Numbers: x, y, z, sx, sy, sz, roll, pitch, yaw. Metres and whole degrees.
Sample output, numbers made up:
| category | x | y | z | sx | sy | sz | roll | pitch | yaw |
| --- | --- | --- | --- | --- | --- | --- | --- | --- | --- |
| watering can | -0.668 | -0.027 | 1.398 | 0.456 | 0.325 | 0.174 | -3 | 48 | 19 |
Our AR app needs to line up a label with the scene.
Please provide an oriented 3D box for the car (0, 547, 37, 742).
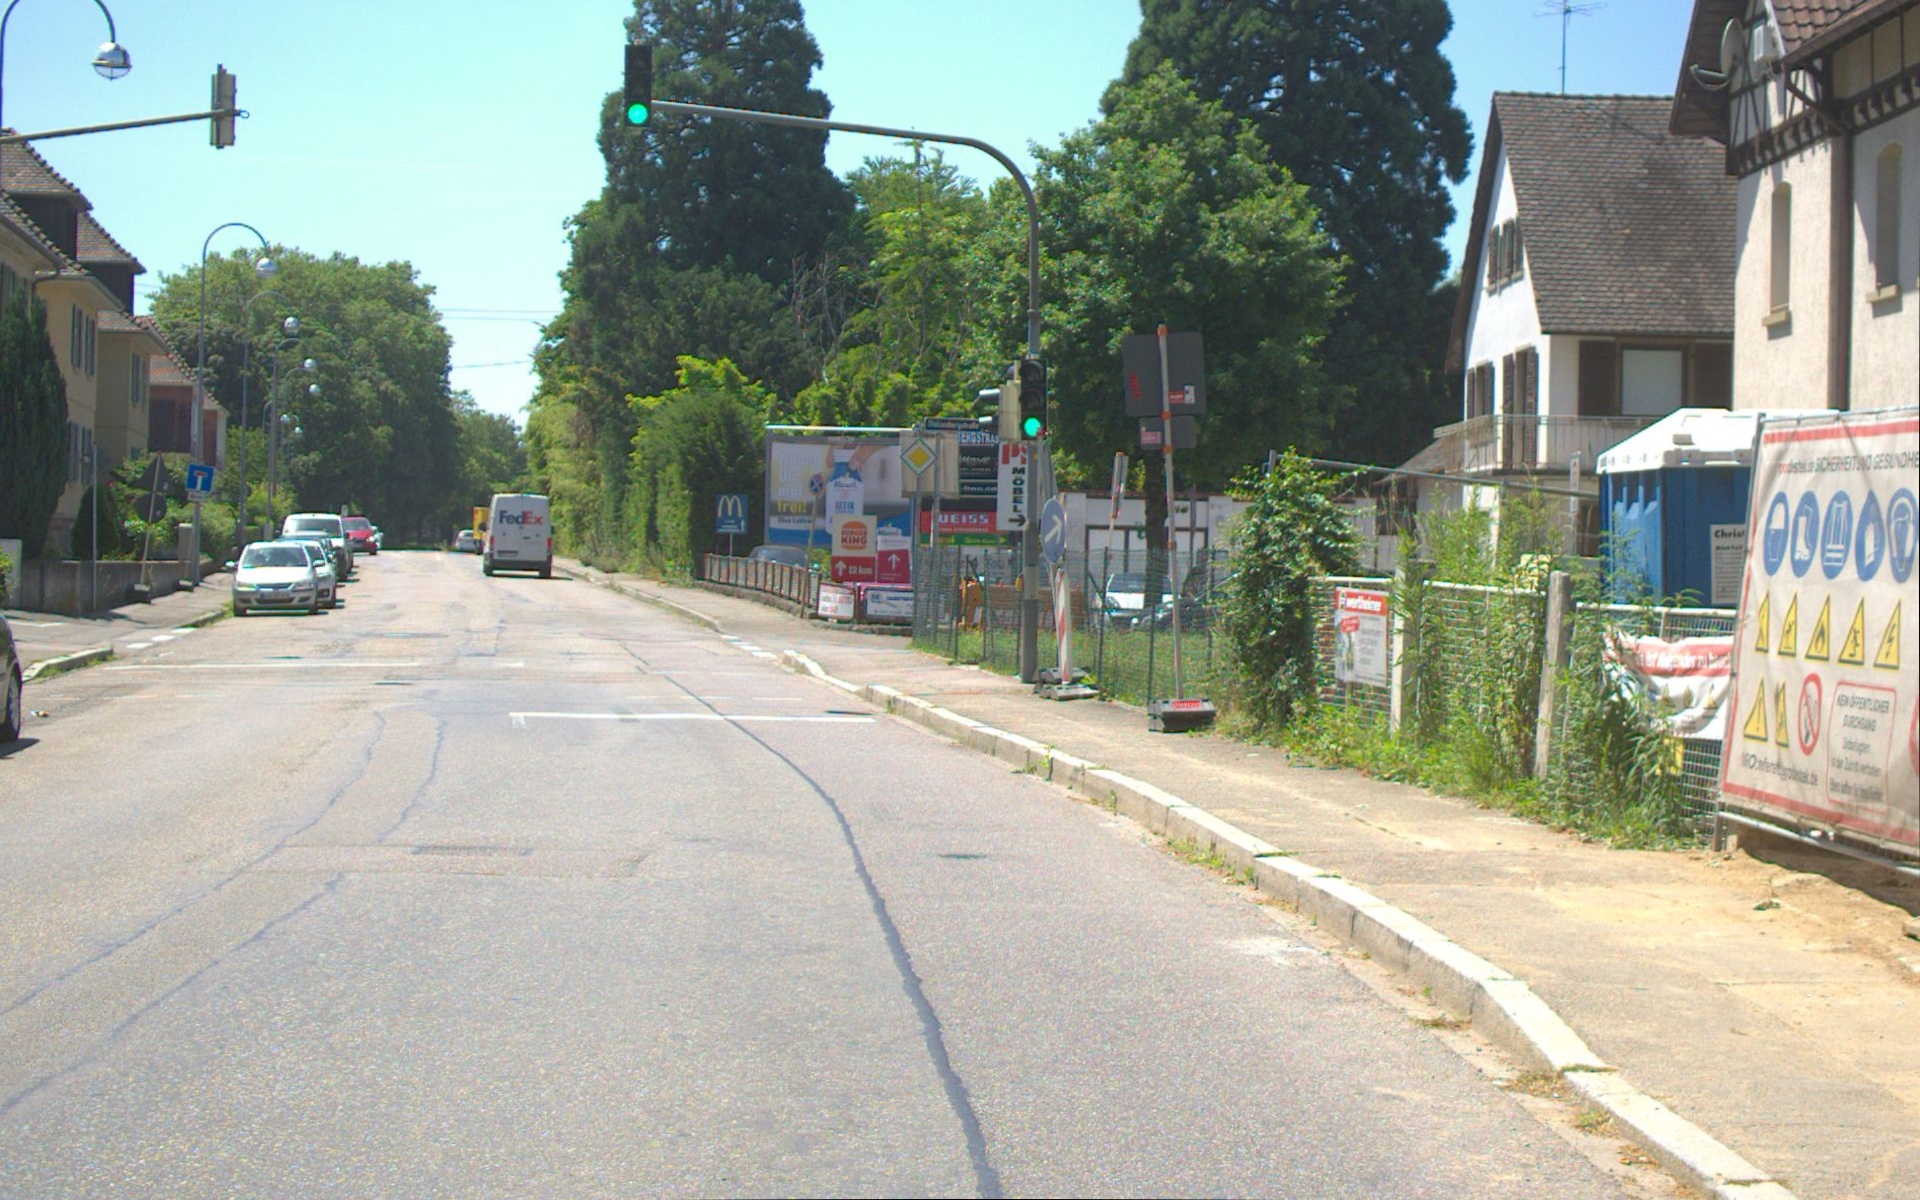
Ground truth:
| category | x | y | z | sx | sy | sz | roll | pitch | yaw |
| --- | --- | --- | --- | --- | --- | --- | --- | --- | --- |
| car | -7.754 | 0.337 | 24.535 | 1.680 | 1.407 | 3.927 | 0 | 1 | -7 |

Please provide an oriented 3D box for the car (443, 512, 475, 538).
| category | x | y | z | sx | sy | sz | roll | pitch | yaw |
| --- | --- | --- | --- | --- | --- | --- | --- | --- | --- |
| car | -33.654 | -5.048 | 230.842 | 1.993 | 1.656 | 4.001 | 1 | 1 | -10 |

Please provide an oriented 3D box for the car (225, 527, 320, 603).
| category | x | y | z | sx | sy | sz | roll | pitch | yaw |
| --- | --- | --- | --- | --- | --- | --- | --- | --- | --- |
| car | -13.593 | -0.713 | 68.126 | 1.759 | 1.442 | 3.925 | 0 | 1 | -10 |

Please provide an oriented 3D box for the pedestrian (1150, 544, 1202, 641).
| category | x | y | z | sx | sy | sz | roll | pitch | yaw |
| --- | --- | --- | --- | --- | --- | --- | --- | --- | --- |
| pedestrian | 3.671 | -0.130 | 58.359 | 0.695 | 1.594 | 0.573 | 3 | 1 | -9 |

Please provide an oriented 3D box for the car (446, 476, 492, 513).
| category | x | y | z | sx | sy | sz | roll | pitch | yaw |
| --- | --- | --- | --- | --- | --- | --- | --- | --- | --- |
| car | -23.267 | -4.976 | 162.696 | 1.993 | 1.656 | 4.001 | 1 | 1 | -10 |

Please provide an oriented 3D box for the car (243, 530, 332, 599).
| category | x | y | z | sx | sy | sz | roll | pitch | yaw |
| --- | --- | --- | --- | --- | --- | --- | --- | --- | --- |
| car | -14.269 | -0.782 | 73.124 | 1.794 | 1.397 | 4.220 | 0 | 1 | -10 |

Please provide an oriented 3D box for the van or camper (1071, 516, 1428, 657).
| category | x | y | z | sx | sy | sz | roll | pitch | yaw |
| --- | --- | --- | --- | --- | --- | --- | --- | --- | --- |
| van or camper | 4.585 | -0.211 | 54.480 | 5.251 | 2.007 | 1.909 | 2 | 1 | -22 |

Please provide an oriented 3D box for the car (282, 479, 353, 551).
| category | x | y | z | sx | sy | sz | roll | pitch | yaw |
| --- | --- | --- | --- | --- | --- | --- | --- | --- | --- |
| car | -18.251 | -2.437 | 97.821 | 1.877 | 1.956 | 4.627 | -1 | 2 | -9 |

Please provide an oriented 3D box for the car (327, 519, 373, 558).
| category | x | y | z | sx | sy | sz | roll | pitch | yaw |
| --- | --- | --- | --- | --- | --- | --- | --- | --- | --- |
| car | -25.065 | -2.552 | 141.330 | 1.814 | 1.560 | 3.698 | 0 | 1 | -9 |

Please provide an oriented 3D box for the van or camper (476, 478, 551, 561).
| category | x | y | z | sx | sy | sz | roll | pitch | yaw |
| --- | --- | --- | --- | --- | --- | --- | --- | --- | --- |
| van or camper | -13.942 | -2.513 | 107.505 | 2.262 | 2.519 | 4.761 | 0 | 1 | -7 |
